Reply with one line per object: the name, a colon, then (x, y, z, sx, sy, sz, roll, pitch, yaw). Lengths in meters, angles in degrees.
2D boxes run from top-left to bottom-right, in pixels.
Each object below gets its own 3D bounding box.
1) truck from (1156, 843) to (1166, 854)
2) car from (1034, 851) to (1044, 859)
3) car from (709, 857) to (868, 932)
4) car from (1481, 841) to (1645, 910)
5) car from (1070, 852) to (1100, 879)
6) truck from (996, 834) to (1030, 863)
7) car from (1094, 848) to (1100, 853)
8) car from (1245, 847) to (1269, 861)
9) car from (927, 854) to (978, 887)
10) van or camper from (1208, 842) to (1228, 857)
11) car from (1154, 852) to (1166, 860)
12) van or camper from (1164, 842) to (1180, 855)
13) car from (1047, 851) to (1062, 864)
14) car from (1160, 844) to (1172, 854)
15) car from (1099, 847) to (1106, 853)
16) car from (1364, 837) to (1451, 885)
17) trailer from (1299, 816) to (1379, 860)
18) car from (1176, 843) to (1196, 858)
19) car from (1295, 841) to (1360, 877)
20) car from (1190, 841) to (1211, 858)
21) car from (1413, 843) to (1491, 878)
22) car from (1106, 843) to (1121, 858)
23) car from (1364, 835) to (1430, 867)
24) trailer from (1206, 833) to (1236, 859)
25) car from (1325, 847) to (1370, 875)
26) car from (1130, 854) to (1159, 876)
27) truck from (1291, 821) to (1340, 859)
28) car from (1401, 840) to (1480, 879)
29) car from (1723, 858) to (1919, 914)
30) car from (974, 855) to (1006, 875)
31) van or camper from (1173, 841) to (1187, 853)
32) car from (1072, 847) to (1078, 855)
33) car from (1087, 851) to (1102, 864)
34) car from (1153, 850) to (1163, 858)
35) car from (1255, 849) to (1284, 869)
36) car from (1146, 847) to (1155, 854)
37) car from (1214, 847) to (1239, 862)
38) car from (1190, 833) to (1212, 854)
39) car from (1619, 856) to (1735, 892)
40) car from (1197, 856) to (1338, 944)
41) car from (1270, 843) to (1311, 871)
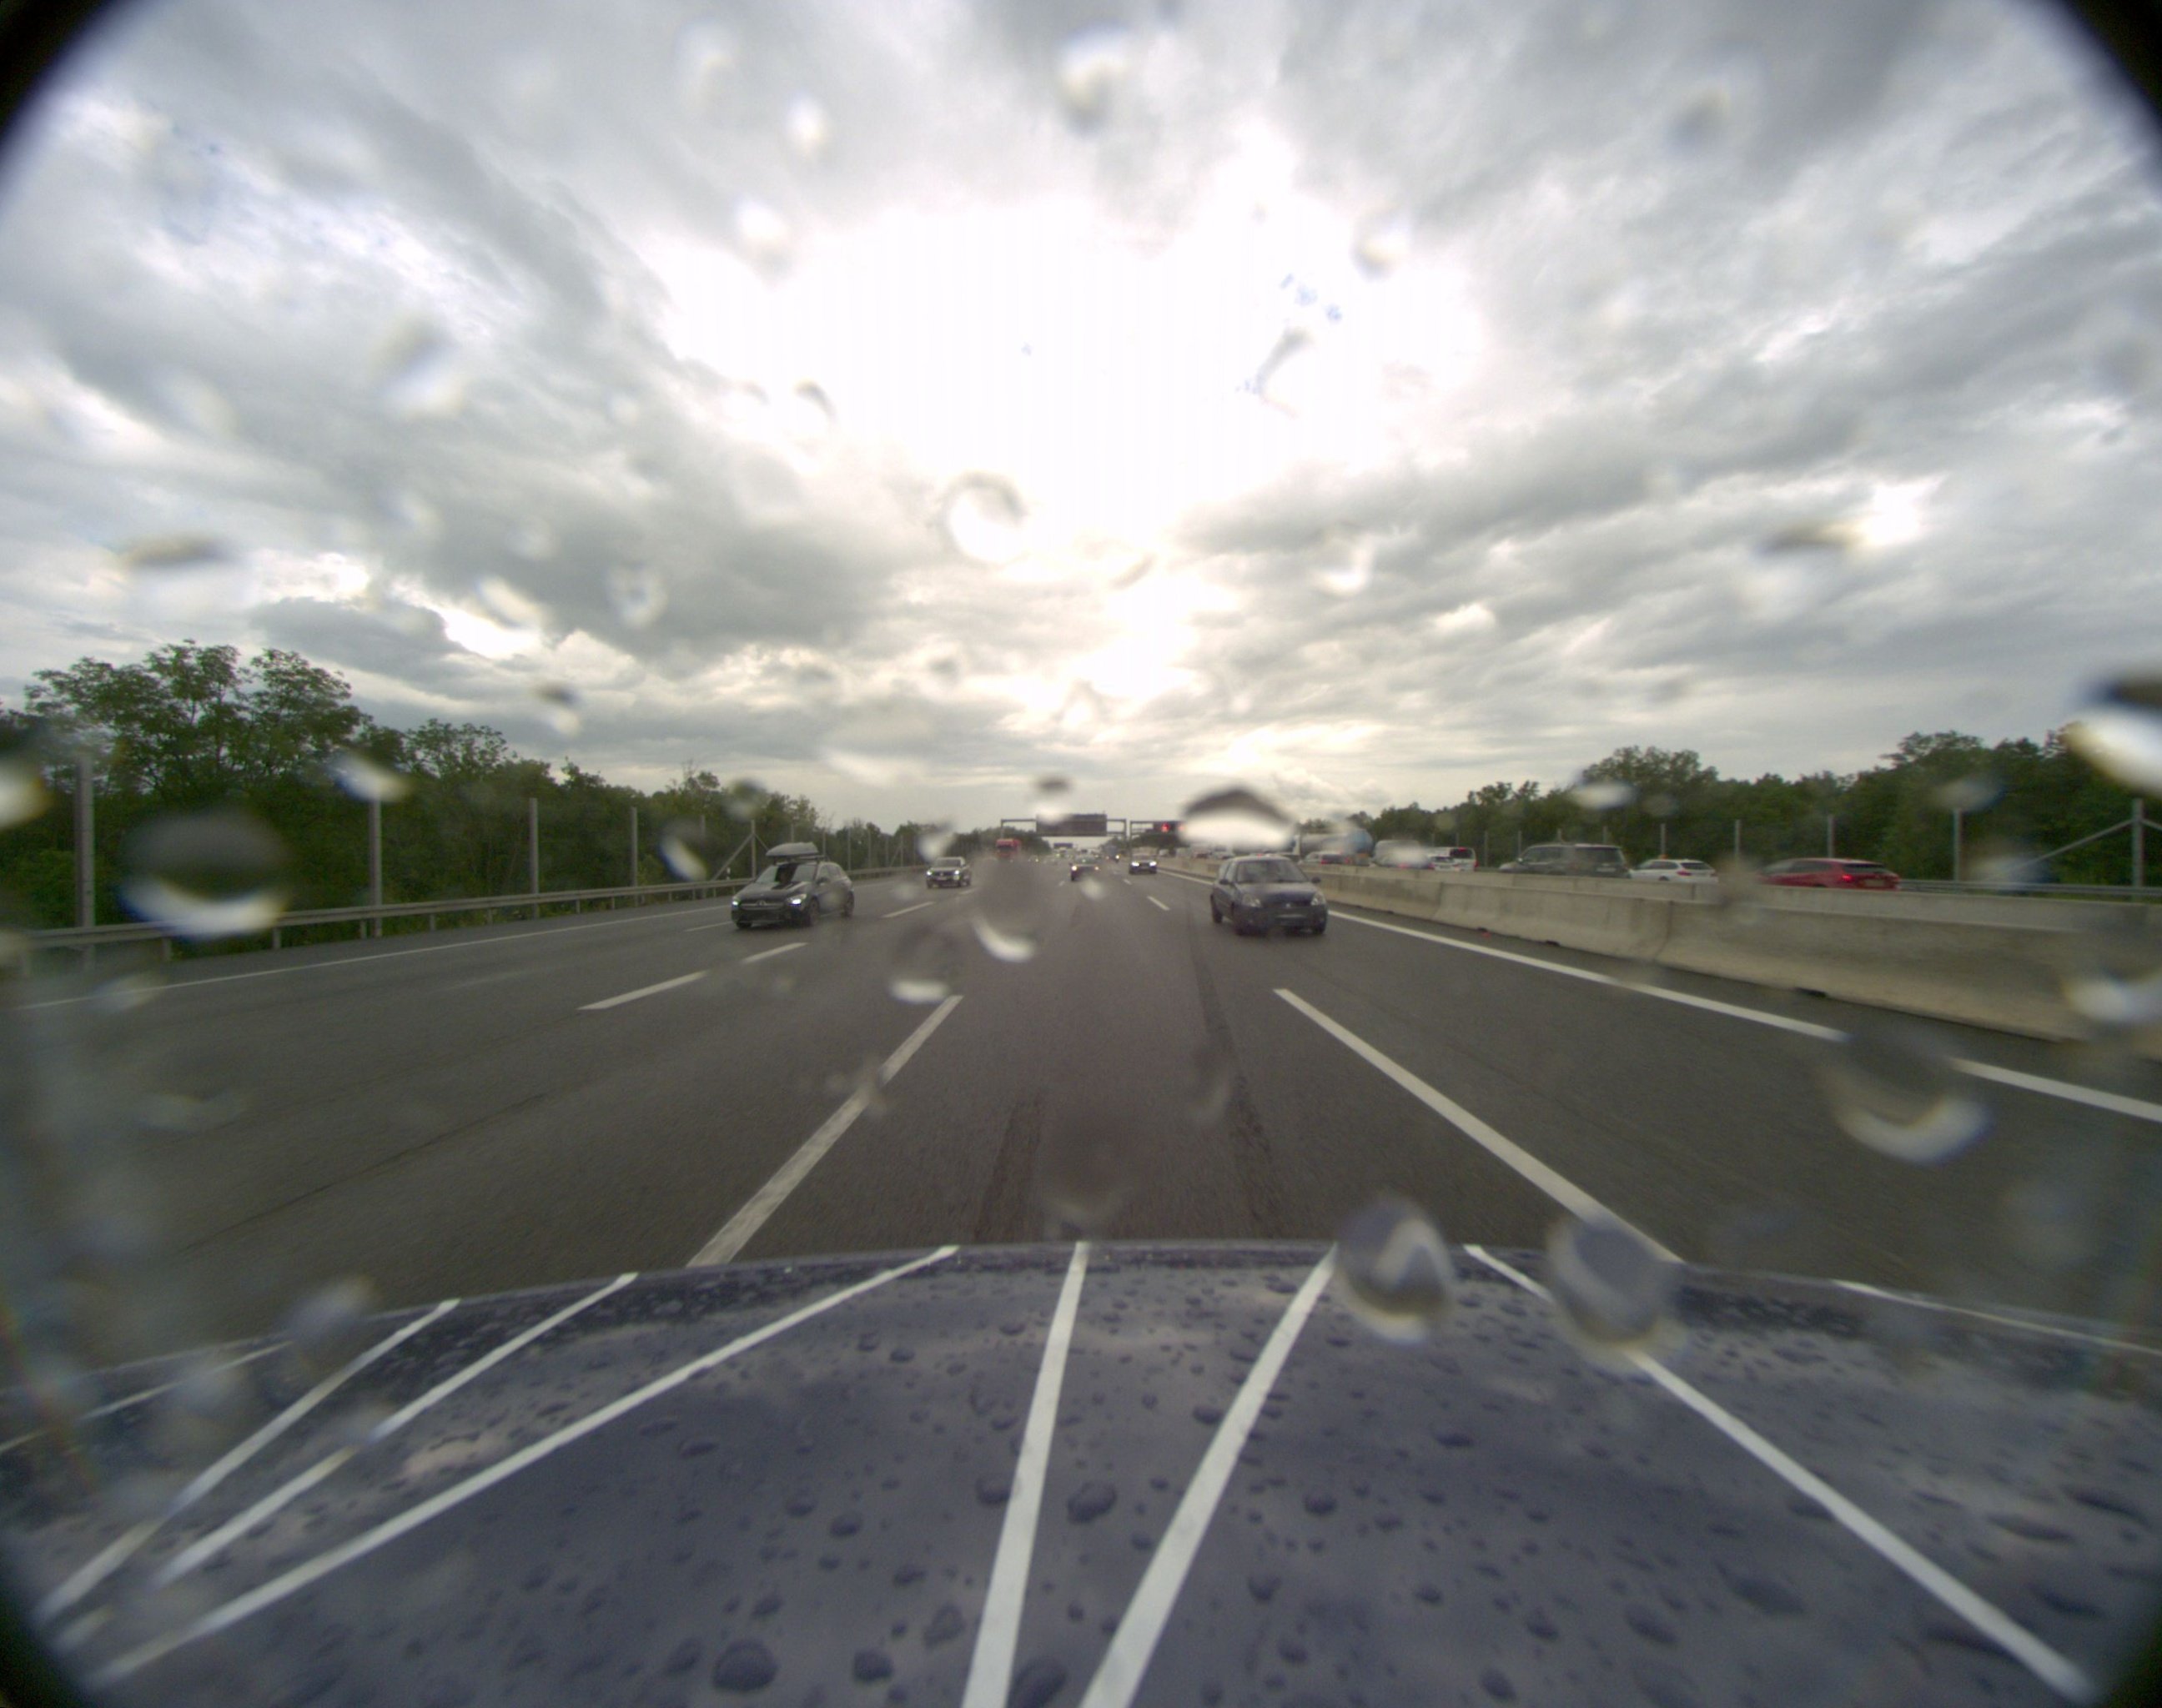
truck: (27.279, -1.954, 258.209, 2.470, 3.516, 7.807, -1, 0, 0)
car: (-8.377, 0.177, 152.306, 1.820, 1.534, 4.357, -1, 0, -2)
car: (-7.136, 0.901, 19.248, 2.110, 1.596, 5.065, -1, 0, -1)
car: (13.920, 0.562, 22.346, 1.874, 1.749, 4.706, -2, 0, 1)
car: (0.292, 0.653, 45.440, 1.668, 1.431, 4.405, -1, 0, 2)
truck: (-10.159, -0.783, 115.533, 3.160, 3.980, 15.638, -1, 0, 1)
car: (5.176, -1.157, 243.582, 1.998, 1.790, 4.898, -2, 0, 1)
car: (19.961, -0.049, 86.280, 1.804, 1.494, 4.351, -1, 1, 1)
car: (-6.708, 0.832, 39.998, 1.796, 1.553, 3.722, -2, 0, 3)
van or camper: (19.819, -0.622, 110.033, 2.100, 2.173, 4.971, -2, 0, 1)
car: (15.095, 0.299, 145.226, 1.646, 1.484, 4.934, -2, 0, 1)
van or camper: (15.182, -0.900, 127.437, 1.998, 2.002, 6.346, -2, 0, 1)
car: (-3.830, 0.507, 110.174, 1.962, 1.831, 3.999, -1, 0, -1)
car: (20.660, -1.237, 185.050, 2.208, 2.474, 6.065, -1, 0, 0)
car: (6.062, -1.127, 216.644, 1.998, 1.790, 4.898, -2, 0, 1)
car: (14.448, 0.284, 33.883, 2.121, 1.926, 4.000, -2, 0, 1)
trailer: (23.083, -1.303, 69.005, 2.717, 3.505, 13.610, -2, 0, 1)
car: (14.934, -0.459, 107.976, 2.100, 1.957, 5.631, -2, 0, 1)
car: (14.455, 0.289, 44.893, 2.121, 1.926, 5.215, -2, 0, 1)
car: (14.883, -0.542, 94.894, 1.868, 1.957, 4.805, -2, 0, 1)
car: (22.690, 0.382, 46.759, 2.121, 1.926, 5.439, -2, 0, 1)
car: (4.993, -0.545, 118.866, 1.999, 2.354, 4.171, -2, 0, -1)
car: (23.064, -0.202, 55.751, 2.121, 2.137, 6.618, -2, 0, 1)
trailer: (27.345, -1.550, 149.228, 3.155, 4.828, 13.294, -2, 0, -1)
car: (19.742, 0.520, 56.480, 1.898, 1.942, 4.000, -2, 0, 1)
car: (4.527, 0.745, 54.779, 1.751, 1.489, 4.015, -1, 0, 1)
truck: (23.142, -1.301, 75.356, 2.735, 3.493, 6.800, -2, 0, 1)
car: (19.216, 0.269, 40.842, 2.121, 1.926, 4.426, -2, 0, 1)
car: (22.002, 0.892, 22.868, 1.874, 1.449, 4.141, -2, 0, 1)
car: (-7.081, 0.840, 59.682, 1.898, 1.438, 4.246, -2, 0, 1)
van or camper: (24.174, -1.607, 185.552, 2.590, 2.830, 6.213, -1, 0, -1)
car: (-1.940, -0.850, 245.968, 2.037, 2.587, 4.513, 0, 0, -2)
car: (1.907, 0.426, 109.348, 2.133, 1.831, 4.000, -1, 0, 1)
car: (16.425, 0.024, 162.803, 1.762, 1.489, 4.394, -2, 0, 1)
car: (19.364, 0.508, 78.103, 1.730, 1.957, 5.043, -2, 0, 1)
car: (16.770, -0.815, 182.808, 1.763, 1.429, 4.393, -2, 0, 0)
car: (15.118, -0.002, 79.119, 1.769, 1.475, 4.972, -1, 1, 1)
car: (19.890, -1.648, 126.738, 2.504, 3.281, 7.627, -2, 0, 1)
car: (26.783, 0.848, 34.363, 2.121, 1.443, 4.000, -2, 0, 1)
car: (3.541, 0.795, 15.402, 1.781, 1.399, 5.016, -1, 1, 2)
car: (15.486, 0.227, 56.355, 1.898, 1.942, 4.212, -2, 0, 1)
